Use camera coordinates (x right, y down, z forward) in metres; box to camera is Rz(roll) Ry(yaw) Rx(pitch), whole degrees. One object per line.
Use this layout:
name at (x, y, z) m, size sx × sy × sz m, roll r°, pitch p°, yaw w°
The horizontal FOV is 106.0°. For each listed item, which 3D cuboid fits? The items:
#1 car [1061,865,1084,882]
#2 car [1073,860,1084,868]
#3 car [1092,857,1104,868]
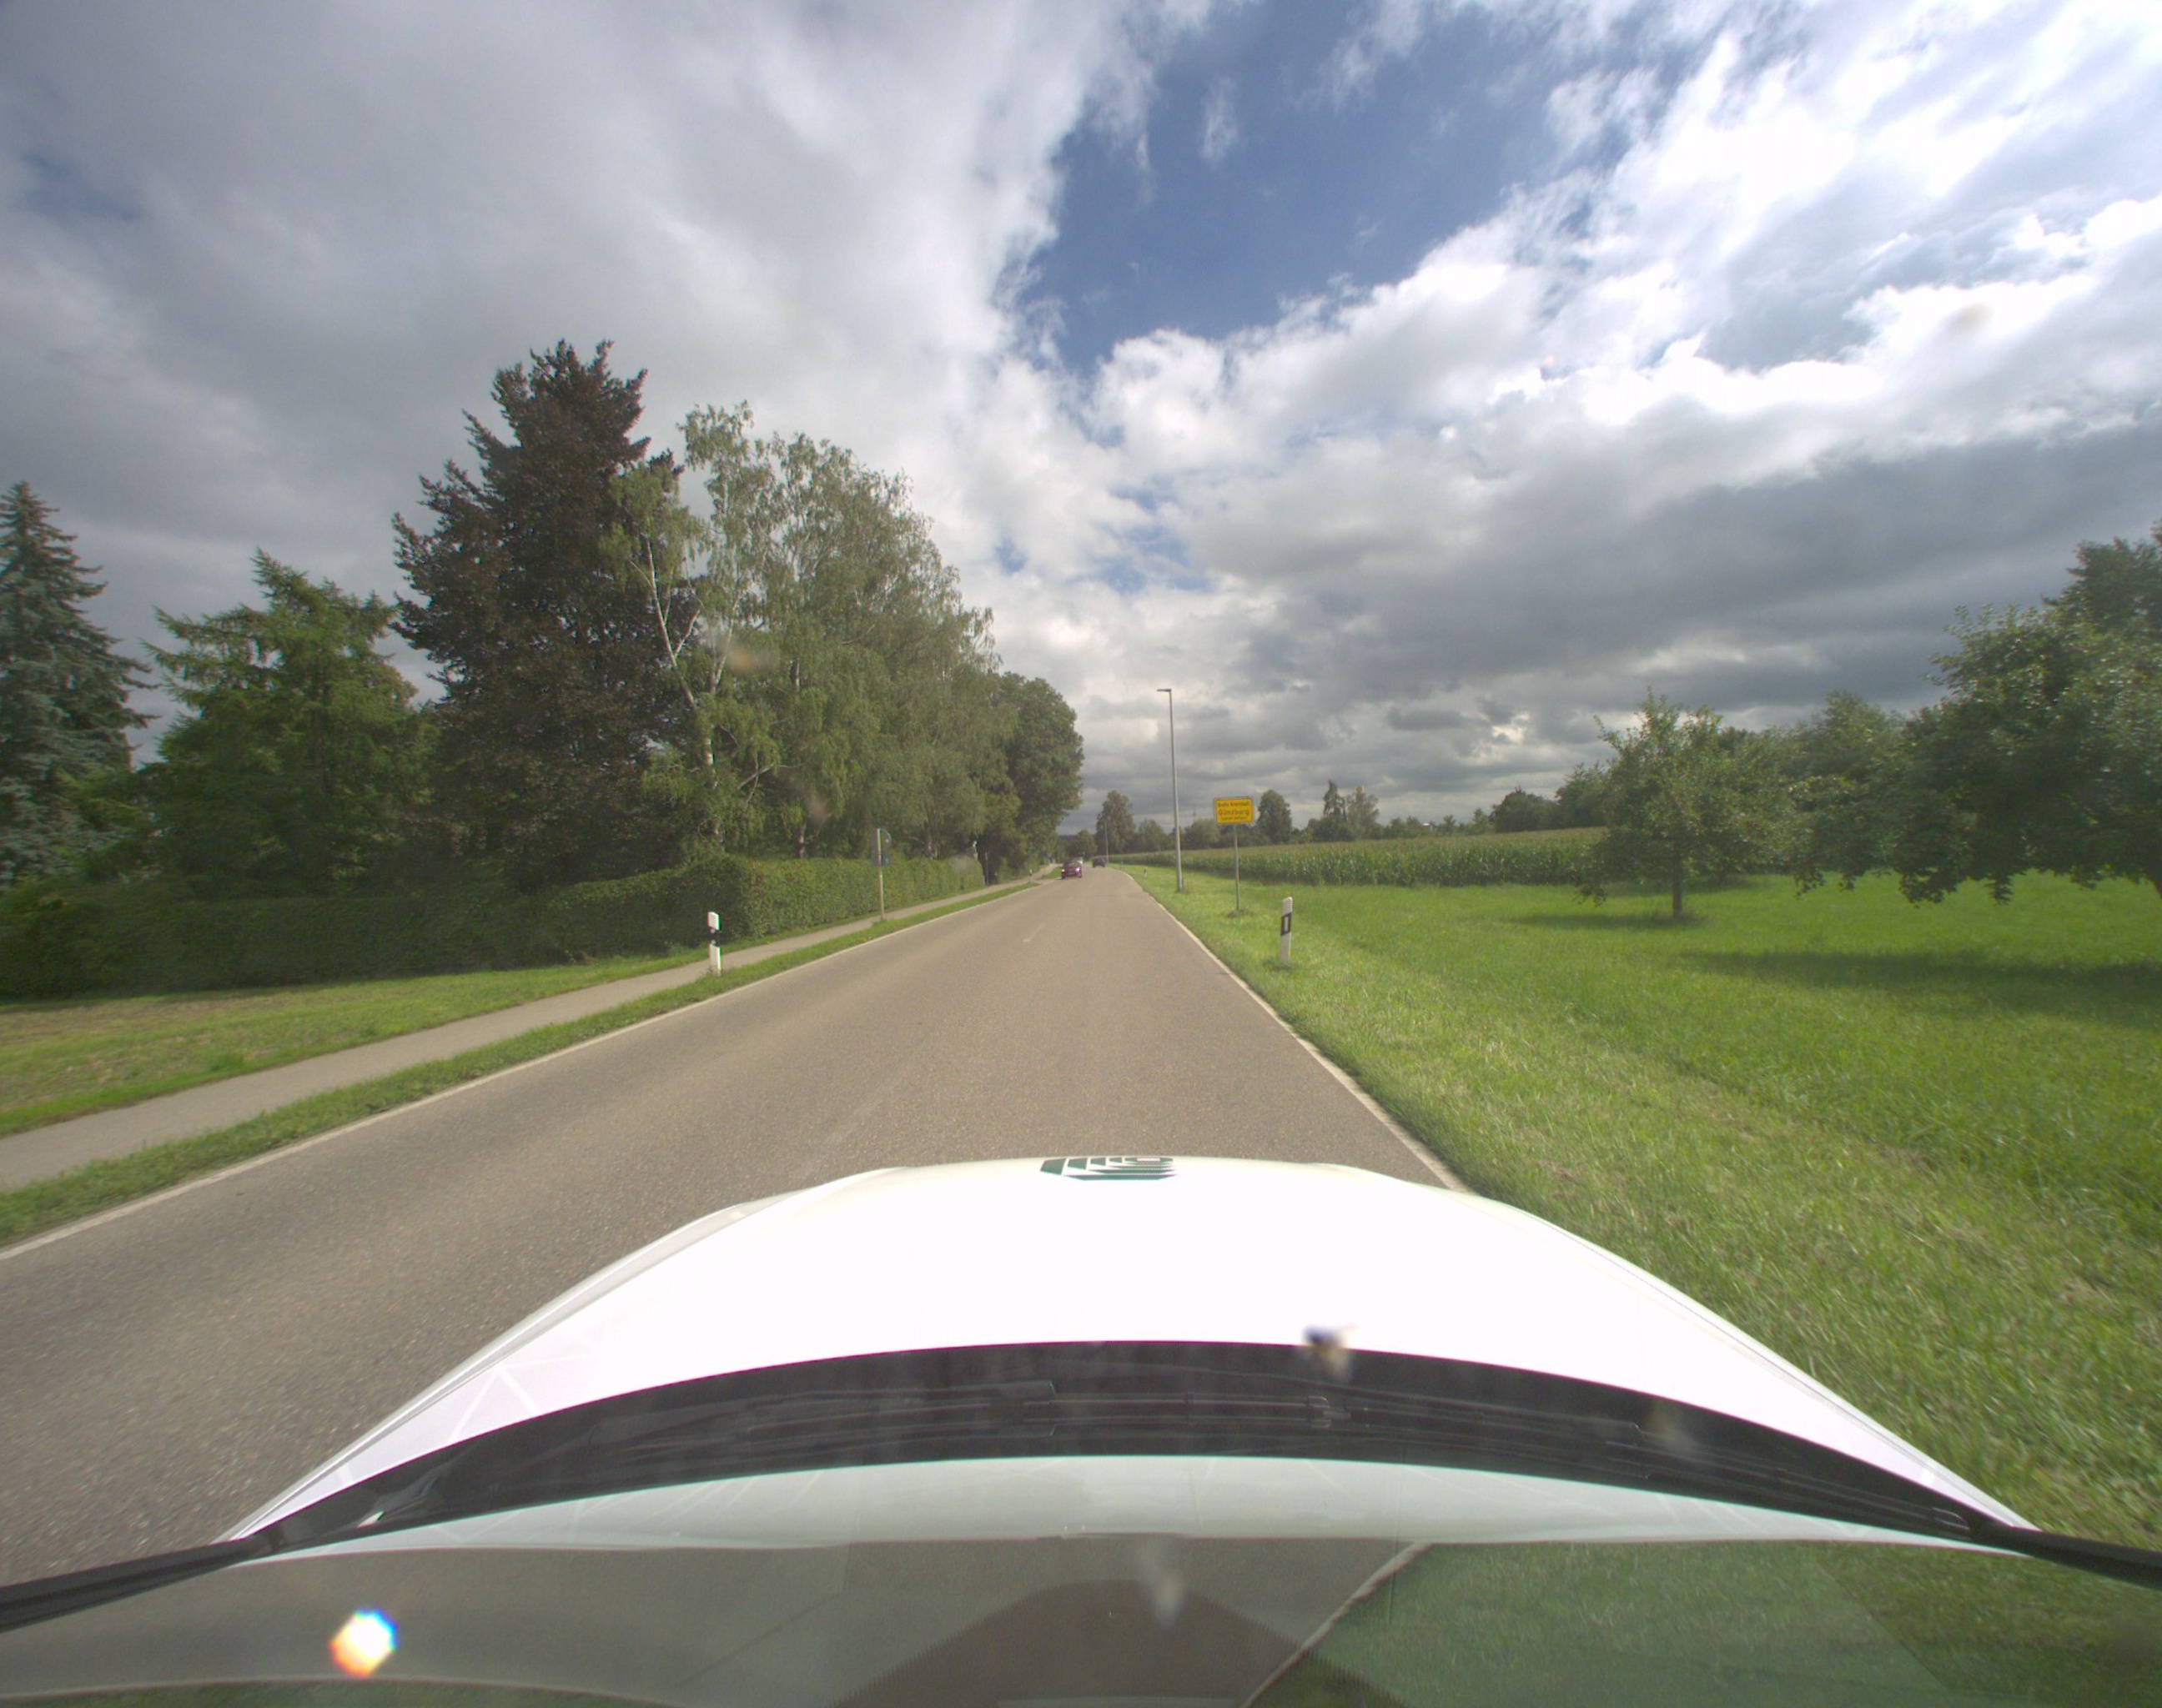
car at (-0.708, 1.604, 68.861) m, size 1.739 × 1.222 × 3.545 m, roll -4°, pitch 0°, yaw 2°
car at (-0.386, 1.676, 141.917) m, size 1.739 × 1.222 × 3.545 m, roll -4°, pitch 0°, yaw 2°
car at (2.742, 1.390, 131.168) m, size 1.900 × 1.666 × 4.001 m, roll -4°, pitch 0°, yaw 1°
